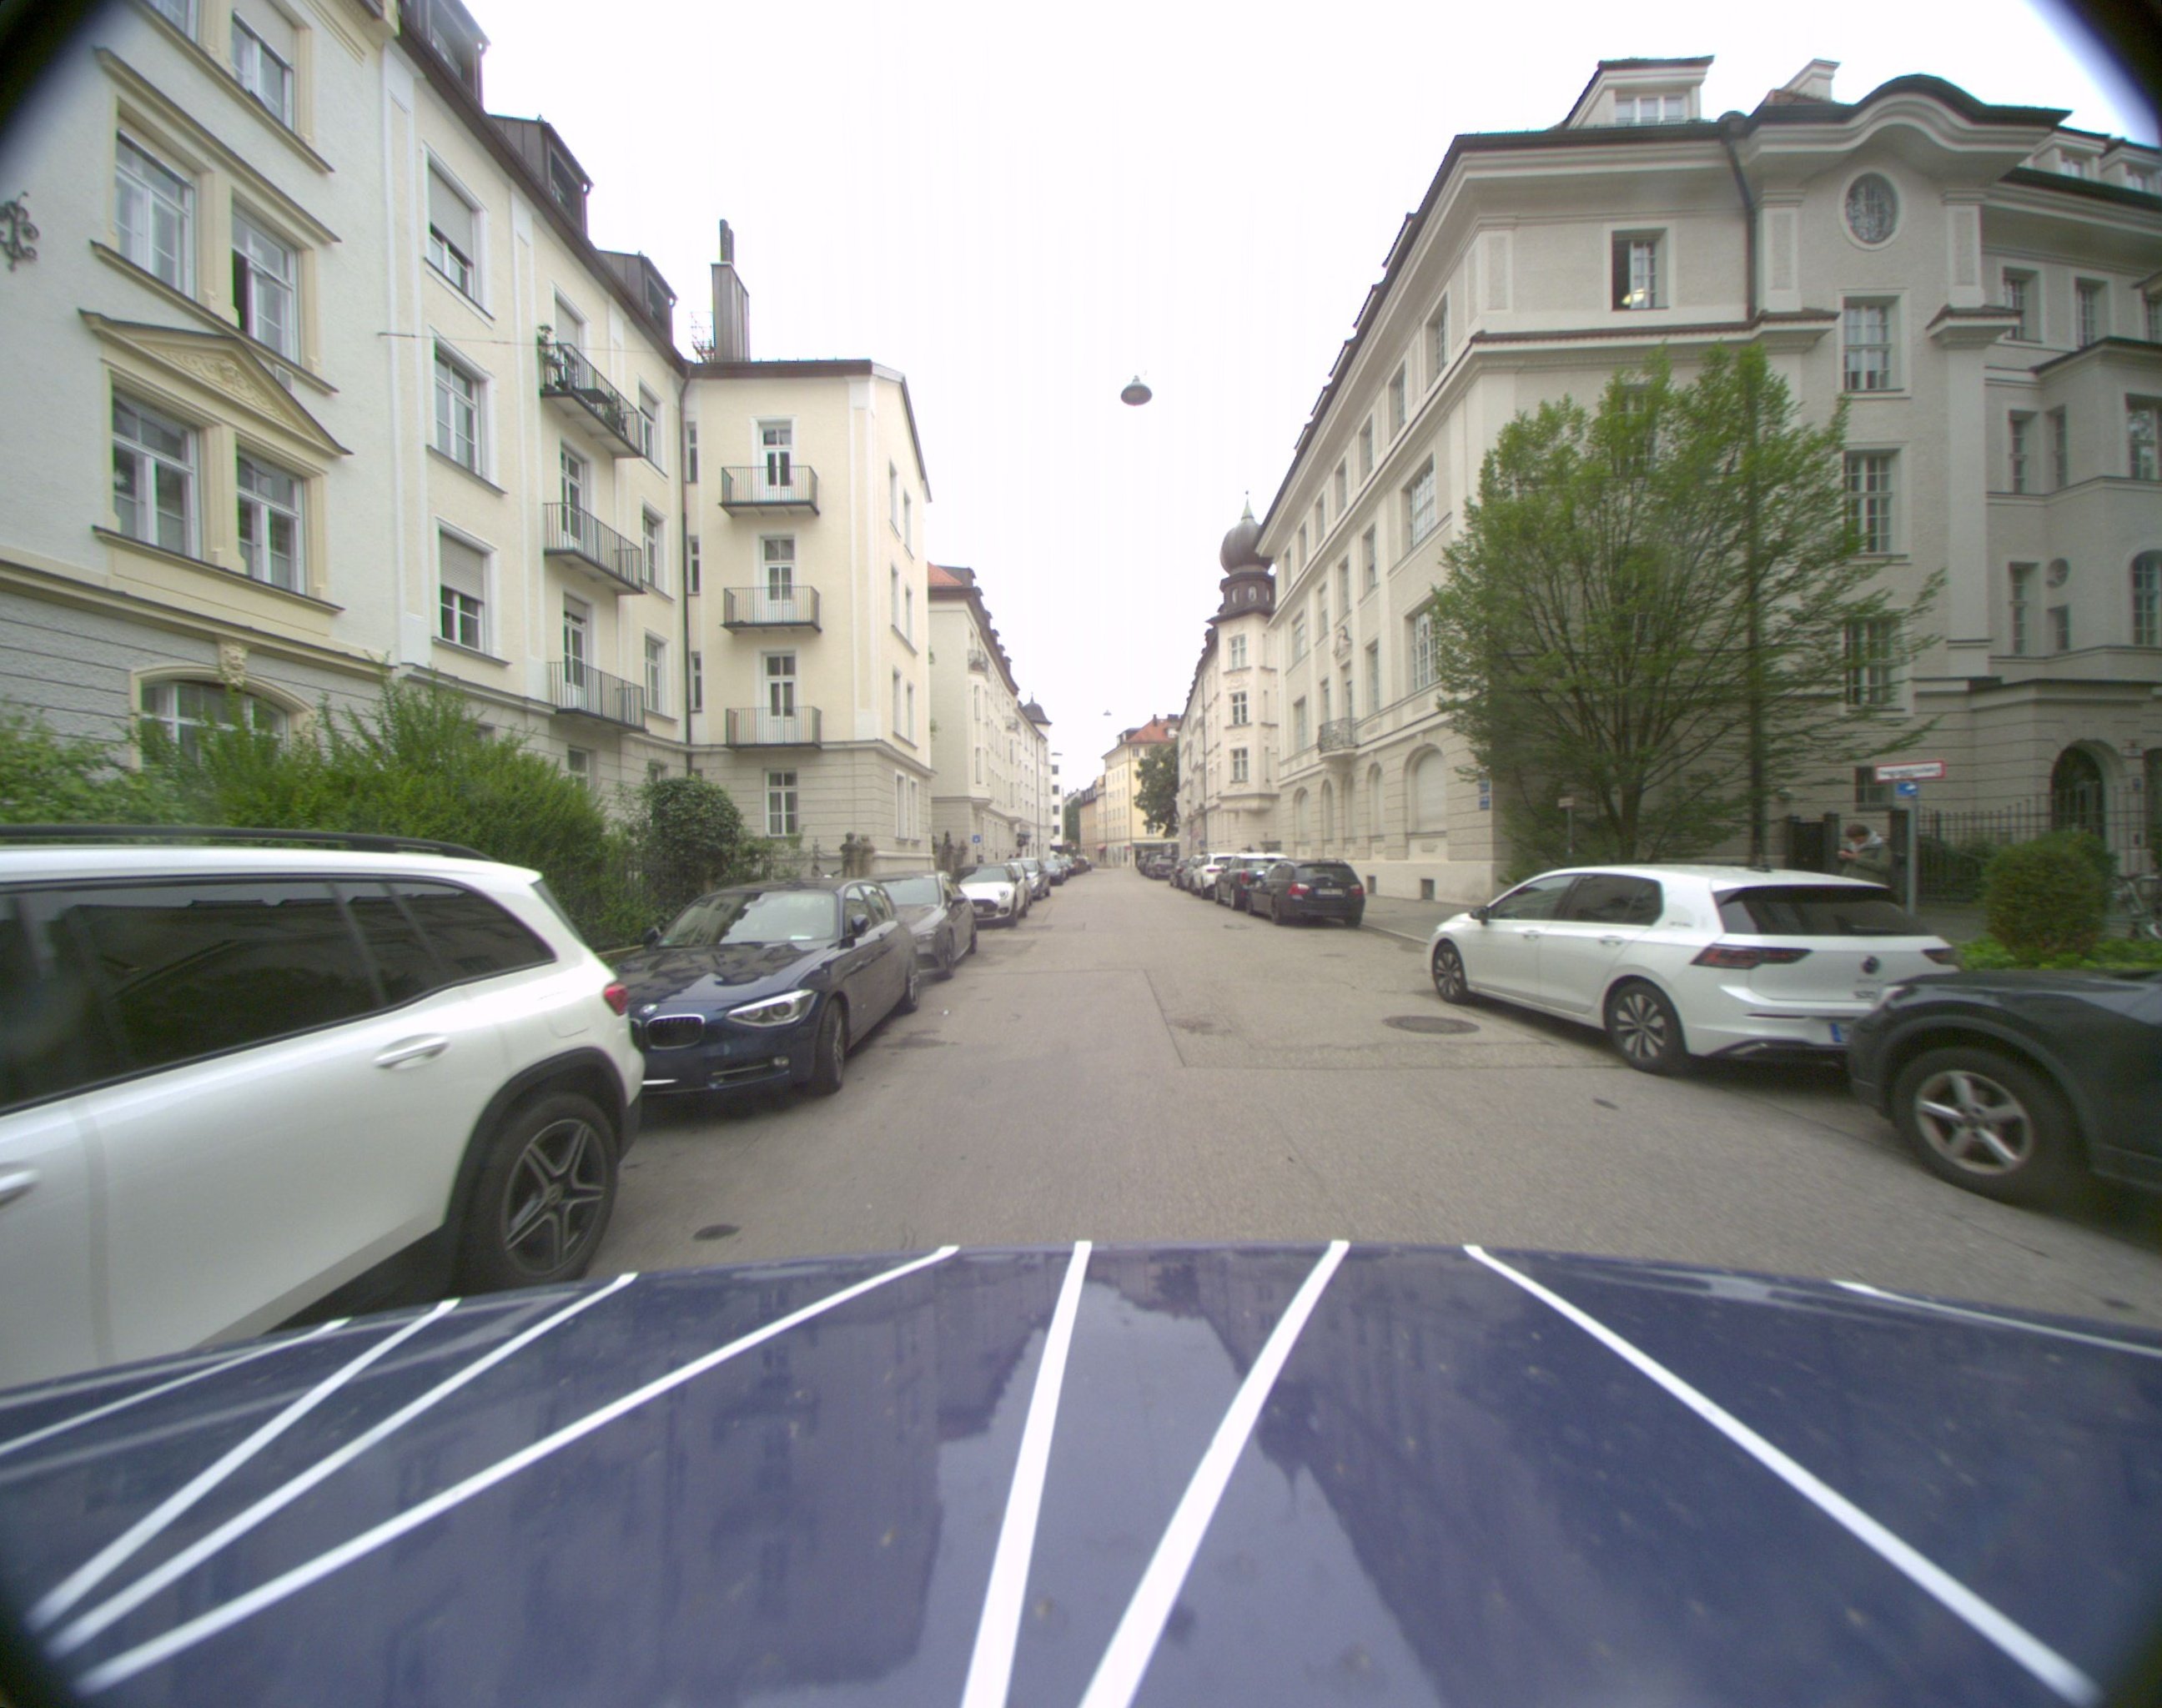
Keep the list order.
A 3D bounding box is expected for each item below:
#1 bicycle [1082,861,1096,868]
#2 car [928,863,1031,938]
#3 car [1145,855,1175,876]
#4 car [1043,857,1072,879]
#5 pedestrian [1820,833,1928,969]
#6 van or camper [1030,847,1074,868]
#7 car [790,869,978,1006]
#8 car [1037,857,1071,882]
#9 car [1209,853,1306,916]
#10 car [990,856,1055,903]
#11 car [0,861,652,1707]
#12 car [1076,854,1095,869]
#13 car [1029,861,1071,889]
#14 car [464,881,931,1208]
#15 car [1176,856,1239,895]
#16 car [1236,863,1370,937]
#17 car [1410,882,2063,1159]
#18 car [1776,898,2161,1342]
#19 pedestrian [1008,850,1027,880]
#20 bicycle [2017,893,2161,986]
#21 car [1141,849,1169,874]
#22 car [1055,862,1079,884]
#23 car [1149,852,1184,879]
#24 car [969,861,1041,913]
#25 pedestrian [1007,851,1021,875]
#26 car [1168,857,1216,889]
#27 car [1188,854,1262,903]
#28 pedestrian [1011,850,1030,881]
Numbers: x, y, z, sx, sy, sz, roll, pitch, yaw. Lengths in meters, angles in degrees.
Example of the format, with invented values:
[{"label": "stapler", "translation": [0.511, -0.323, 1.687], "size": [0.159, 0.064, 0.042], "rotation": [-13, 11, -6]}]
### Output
[{"label": "bicycle", "translation": [1.179, 1.558, 111.606], "size": [1.995, 0.958, 0.973], "rotation": [-1, 0, -10]}, {"label": "car", "translation": [-2.294, 1.013, 18.232], "size": [1.788, 1.495, 4.065], "rotation": [-2, 0, 1]}, {"label": "car", "translation": [5.623, 0.812, 54.408], "size": [1.840, 1.386, 4.245], "rotation": [1, 0, 2]}, {"label": "car", "translation": [-1.662, 0.949, 53.662], "size": [1.841, 1.391, 4.973], "rotation": [-3, -1, -2]}, {"label": "pedestrian", "translation": [9.806, 0.560, 9.420], "size": [0.675, 1.616, 0.631], "rotation": [-1, 0, -2]}, {"label": "van or camper", "translation": [-4.005, 0.491, 103.936], "size": [5.869, 2.697, 2.304], "rotation": [-1, -3, -5]}, {"label": "car", "translation": [-2.599, 1.023, 10.987], "size": [1.688, 1.495, 4.017], "rotation": [-2, 0, -1]}, {"label": "car", "translation": [-1.692, 0.966, 48.787], "size": [1.765, 1.477, 4.421], "rotation": [-4, -1, 2]}, {"label": "car", "translation": [4.946, 0.810, 21.911], "size": [1.841, 1.609, 4.245], "rotation": [-1, 0, 1]}, {"label": "car", "translation": [-2.151, 0.932, 29.145], "size": [1.826, 1.560, 4.401], "rotation": [-4, 0, 3]}, {"label": "car", "translation": [-2.824, 0.979, 1.060], "size": [1.727, 1.759, 4.413], "rotation": [-4, 0, 2]}, {"label": "car", "translation": [0.557, 0.860, 87.715], "size": [1.840, 1.609, 4.095], "rotation": [-4, 0, 3]}, {"label": "car", "translation": [-1.746, 1.176, 43.985], "size": [1.998, 1.449, 4.713], "rotation": [-2, 0, 2]}, {"label": "car", "translation": [-2.540, 1.120, 6.402], "size": [1.755, 1.601, 4.423], "rotation": [-3, -1, -2]}, {"label": "car", "translation": [5.328, 0.868, 32.518], "size": [1.787, 1.532, 4.256], "rotation": [1, 0, -2]}, {"label": "car", "translation": [4.824, 0.939, 17.185], "size": [1.791, 1.404, 4.367], "rotation": [-1, 0, 1]}, {"label": "car", "translation": [4.631, 1.025, 6.425], "size": [1.841, 1.425, 4.244], "rotation": [1, 0, 0]}, {"label": "car", "translation": [4.779, 1.010, 2.022], "size": [1.775, 1.509, 4.385], "rotation": [2, 0, -1]}, {"label": "pedestrian", "translation": [-3.761, 0.649, 45.120], "size": [0.885, 1.801, 1.111], "rotation": [-1, 1, 6]}, {"label": "bicycle", "translation": [11.956, 0.928, 8.405], "size": [0.695, 0.954, 2.010], "rotation": [-4, -3, 4]}, {"label": "car", "translation": [5.829, 0.556, 60.295], "size": [1.841, 1.883, 4.764], "rotation": [1, 0, 1]}, {"label": "car", "translation": [-1.139, 1.543, 63.432], "size": [1.804, 1.665, 4.189], "rotation": [-4, 0, 1]}, {"label": "car", "translation": [5.421, 0.721, 48.451], "size": [1.731, 1.609, 4.121], "rotation": [1, 0, 0]}, {"label": "car", "translation": [-2.293, 0.964, 23.689], "size": [1.758, 1.398, 3.452], "rotation": [-2, 0, 1]}, {"label": "pedestrian", "translation": [-5.083, 0.692, 57.780], "size": [0.885, 1.803, 1.111], "rotation": [-1, 0, 2]}, {"label": "car", "translation": [5.374, 0.878, 37.213], "size": [1.797, 1.407, 4.278], "rotation": [1, 0, 1]}, {"label": "car", "translation": [5.064, 0.824, 27.362], "size": [1.919, 1.609, 4.572], "rotation": [-1, 0, 2]}, {"label": "pedestrian", "translation": [-3.500, 0.668, 43.773], "size": [0.885, 1.776, 1.111], "rotation": [-1, 1, 6]}]
